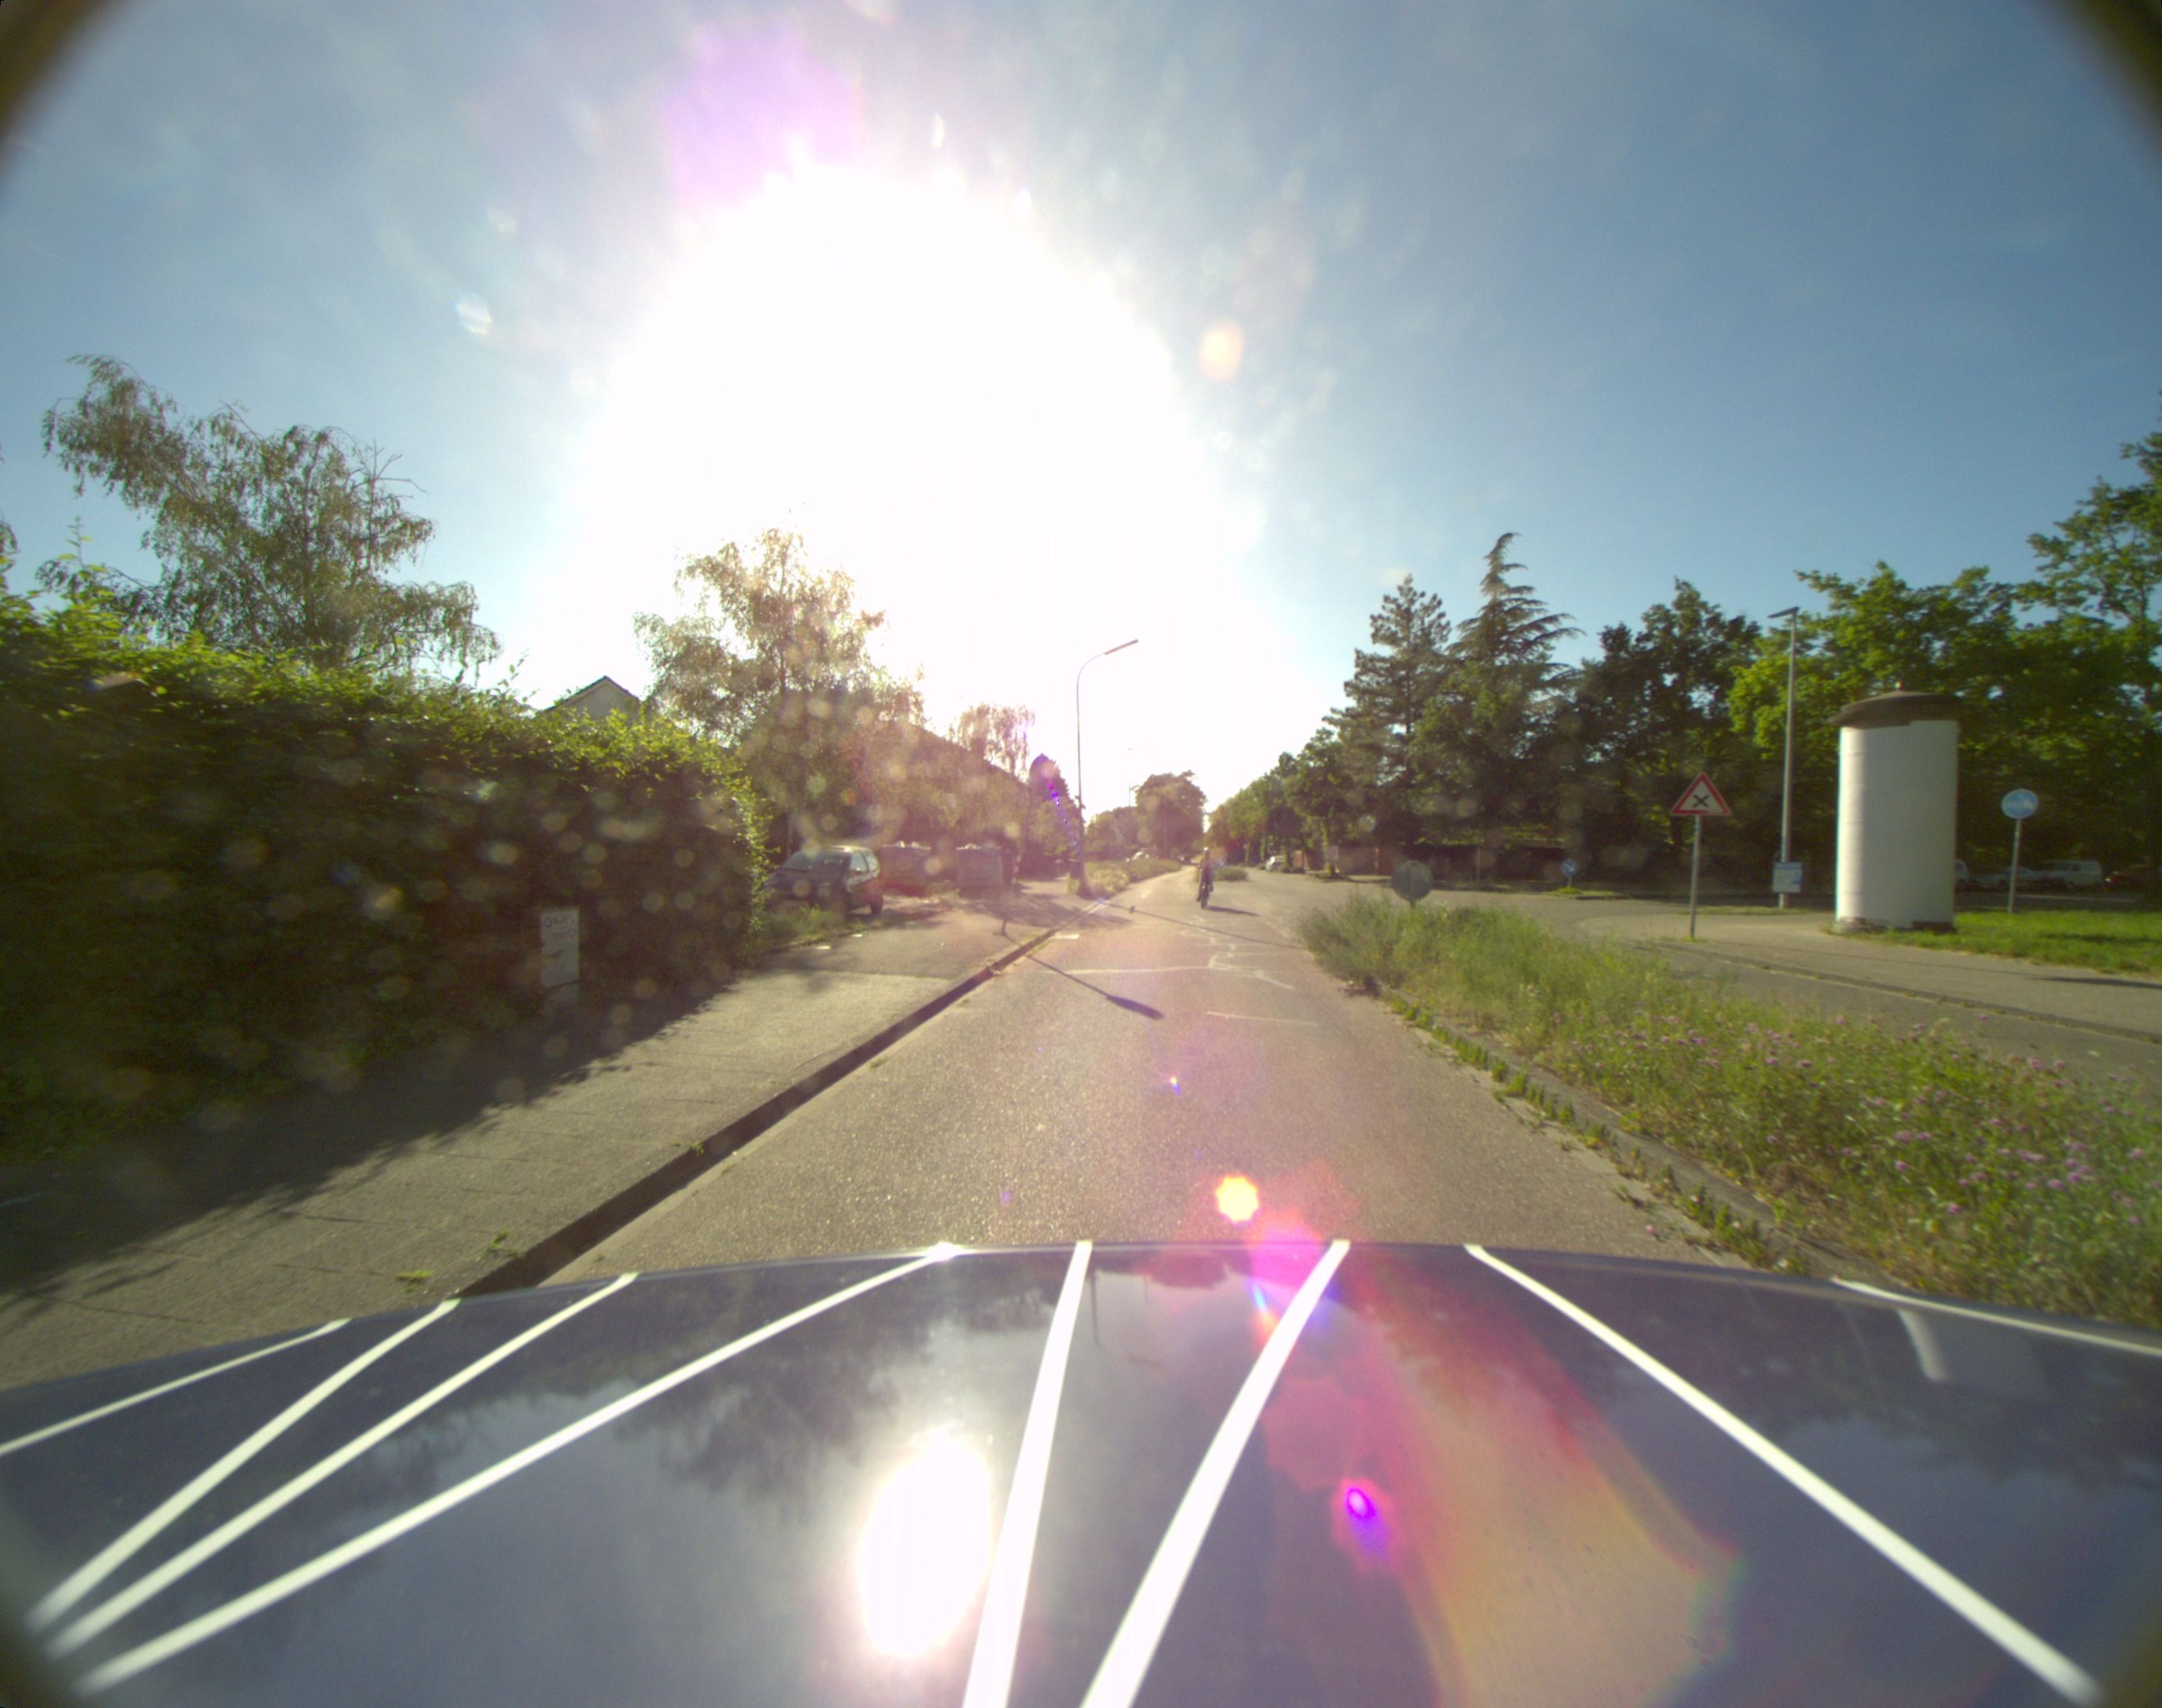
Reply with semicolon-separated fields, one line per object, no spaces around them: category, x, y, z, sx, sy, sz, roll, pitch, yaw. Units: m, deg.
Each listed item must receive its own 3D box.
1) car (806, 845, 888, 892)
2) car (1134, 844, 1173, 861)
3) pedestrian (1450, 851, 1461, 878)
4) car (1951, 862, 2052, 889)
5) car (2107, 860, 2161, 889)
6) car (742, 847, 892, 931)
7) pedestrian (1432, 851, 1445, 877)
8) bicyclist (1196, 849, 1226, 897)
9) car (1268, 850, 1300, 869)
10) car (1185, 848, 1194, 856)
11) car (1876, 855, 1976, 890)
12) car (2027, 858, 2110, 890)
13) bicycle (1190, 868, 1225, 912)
car;-7.714;0.461;25.397;1.634;1.430;4.065;0;-1;-3
car;7.452;-0.149;78.431;3.656;1.707;1.744;0;1;-28
pedestrian;22.084;0.594;44.789;0.395;1.552;0.539;1;2;10
car;49.895;1.154;41.190;4.617;1.435;1.721;1;-1;-15
car;62.130;1.152;44.120;3.755;1.629;1.771;0;0;-15
car;-5.156;0.617;15.320;1.702;1.458;3.534;1;0;1
pedestrian;21.251;0.584;45.202;0.539;1.512;0.395;0;1;-16
bicyclist;3.723;0.519;21.729;0.637;1.339;0.840;1;1;26
car;18.522;0.486;69.474;1.998;1.649;4.000;0;1;2
car;24.139;-0.390;168.971;1.997;1.805;4.002;0;1;8
car;43.980;0.928;39.535;4.638;1.739;1.752;0;0;-18
car;55.108;1.083;42.395;3.804;1.744;1.499;0;0;-15
bicycle;3.591;0.978;21.450;0.457;1.138;1.901;1;1;25
